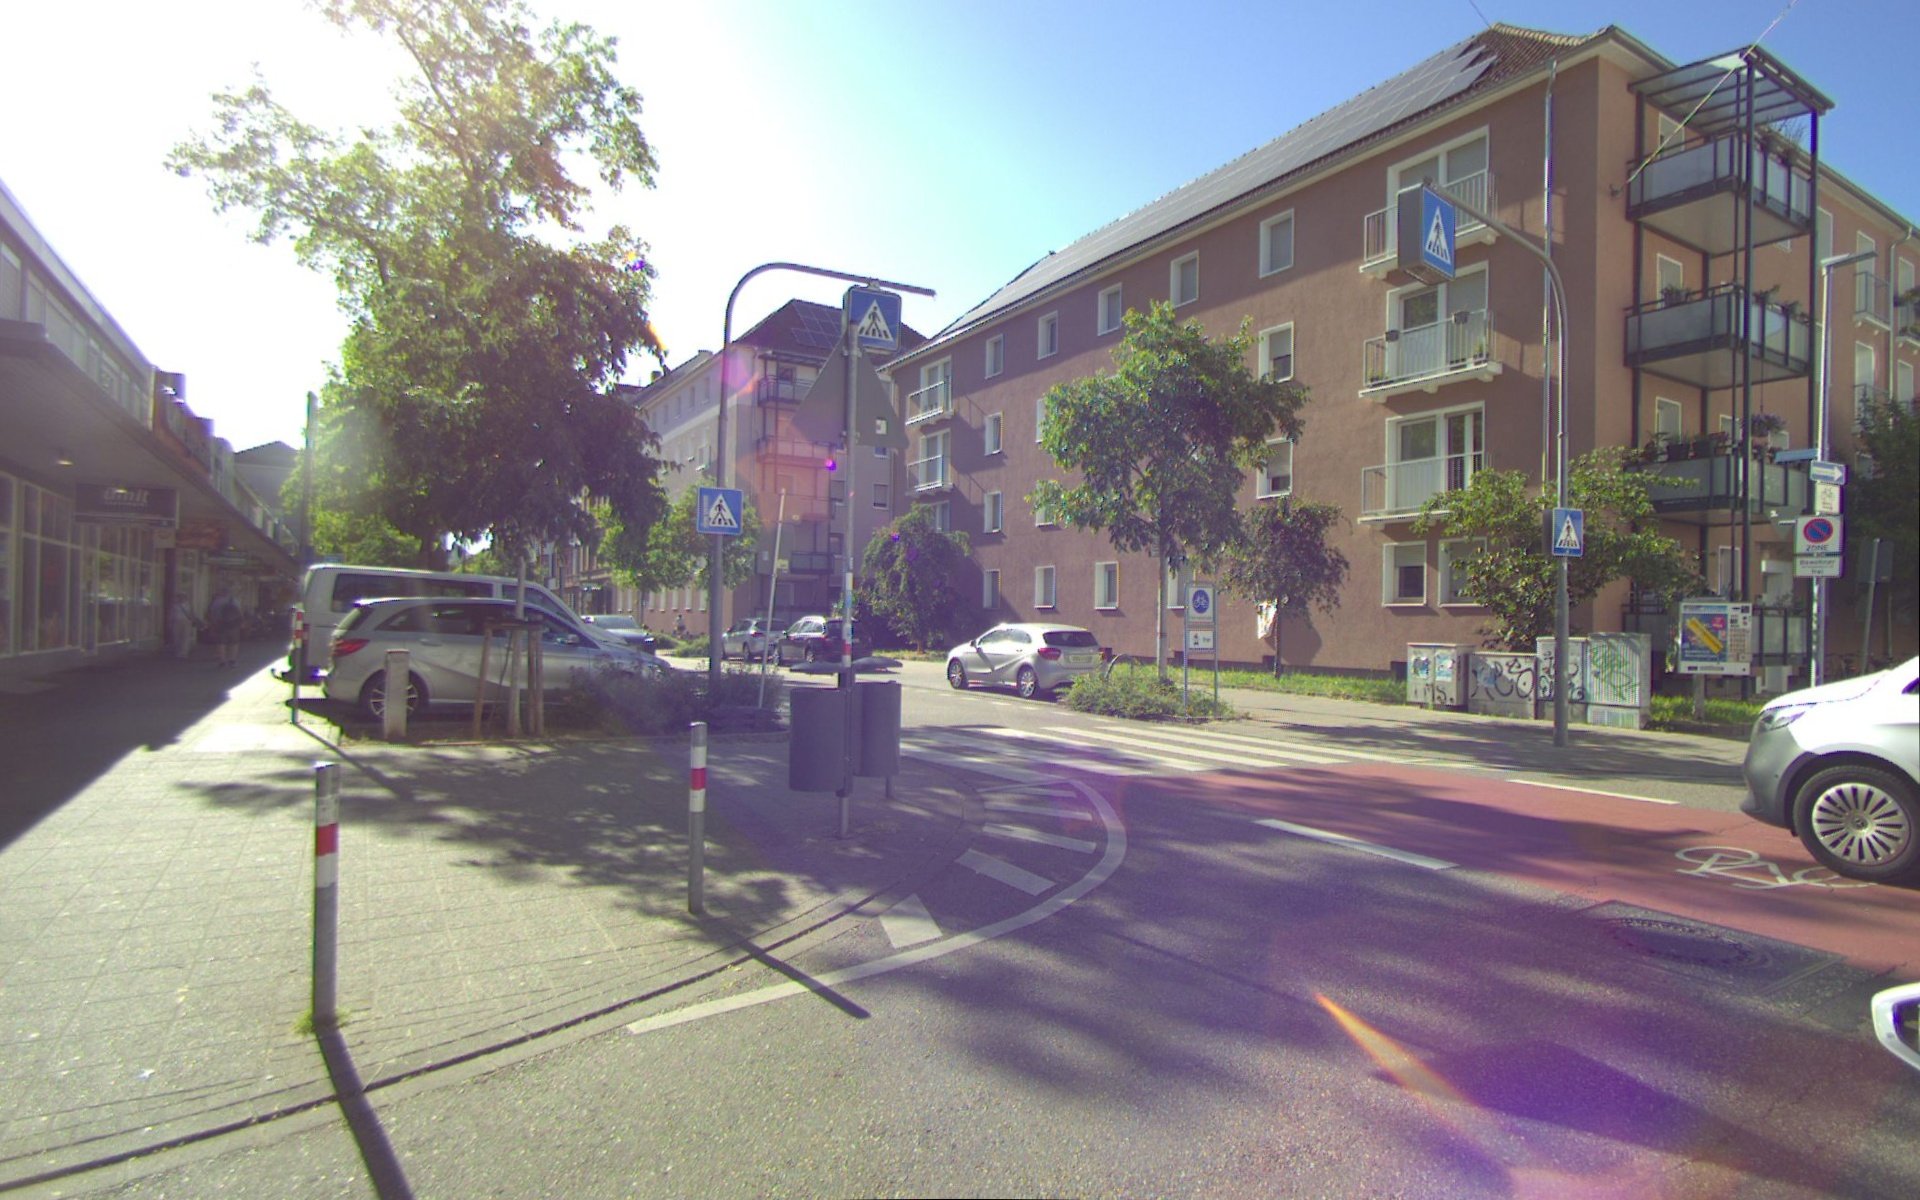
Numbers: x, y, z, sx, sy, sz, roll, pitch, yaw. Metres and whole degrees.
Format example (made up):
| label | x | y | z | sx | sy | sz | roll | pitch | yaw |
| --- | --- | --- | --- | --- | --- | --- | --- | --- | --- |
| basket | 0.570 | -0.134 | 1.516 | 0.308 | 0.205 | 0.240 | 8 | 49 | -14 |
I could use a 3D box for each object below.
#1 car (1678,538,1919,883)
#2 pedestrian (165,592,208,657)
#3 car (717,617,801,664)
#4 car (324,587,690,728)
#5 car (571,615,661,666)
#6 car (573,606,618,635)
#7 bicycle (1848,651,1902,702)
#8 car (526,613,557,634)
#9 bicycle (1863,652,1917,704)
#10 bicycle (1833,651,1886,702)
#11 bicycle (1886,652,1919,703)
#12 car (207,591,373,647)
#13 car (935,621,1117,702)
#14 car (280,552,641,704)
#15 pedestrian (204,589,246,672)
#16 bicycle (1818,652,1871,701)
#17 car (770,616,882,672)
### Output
| label | x | y | z | sx | sy | sz | roll | pitch | yaw |
| --- | --- | --- | --- | --- | --- | --- | --- | --- | --- |
| car | 6.888 | 0.630 | 4.756 | 2.078 | 1.933 | 5.393 | 2 | -1 | -23 |
| pedestrian | -18.704 | 0.593 | 24.306 | 0.681 | 1.542 | 0.528 | 3 | -2 | -30 |
| car | -7.052 | 1.373 | 34.967 | 1.725 | 1.539 | 3.827 | 2 | -1 | -30 |
| car | -6.005 | 0.730 | 13.513 | 4.257 | 1.634 | 1.743 | 2 | -1 | -33 |
| car | -10.958 | 1.236 | 31.803 | 1.892 | 1.473 | 4.543 | 3 | -2 | -29 |
| car | -20.599 | 1.137 | 56.643 | 1.725 | 1.539 | 3.827 | 2 | -1 | -30 |
| bicycle | 20.699 | 1.713 | 22.739 | 0.248 | 1.085 | 1.217 | 1 | -1 | 8 |
| car | -32.593 | 1.807 | 78.095 | 1.725 | 1.539 | 3.827 | 2 | -1 | -30 |
| bicycle | 20.995 | 1.743 | 22.690 | 0.248 | 1.086 | 1.217 | 1 | -1 | 8 |
| bicycle | 20.390 | 1.716 | 22.778 | 0.261 | 1.086 | 1.217 | 1 | -1 | 8 |
| bicycle | 21.239 | 1.727 | 22.373 | 0.248 | 1.086 | 1.220 | 1 | -1 | 8 |
| car | -25.631 | 0.772 | 38.664 | 5.173 | 2.007 | 1.647 | 2 | -2 | -33 |
| car | 1.257 | 1.205 | 20.831 | 1.726 | 1.473 | 4.120 | 2 | -1 | -31 |
| car | -7.604 | 0.503 | 15.551 | 4.696 | 2.032 | 1.942 | 4 | -2 | -34 |
| pedestrian | -15.453 | 0.638 | 21.138 | 0.560 | 1.688 | 0.707 | 3 | -2 | -29 |
| bicycle | 20.082 | 1.728 | 22.826 | 0.285 | 1.049 | 1.217 | 1 | -1 | 8 |
| car | -4.043 | 1.249 | 29.714 | 1.768 | 1.539 | 4.274 | 2 | -1 | -30 |
